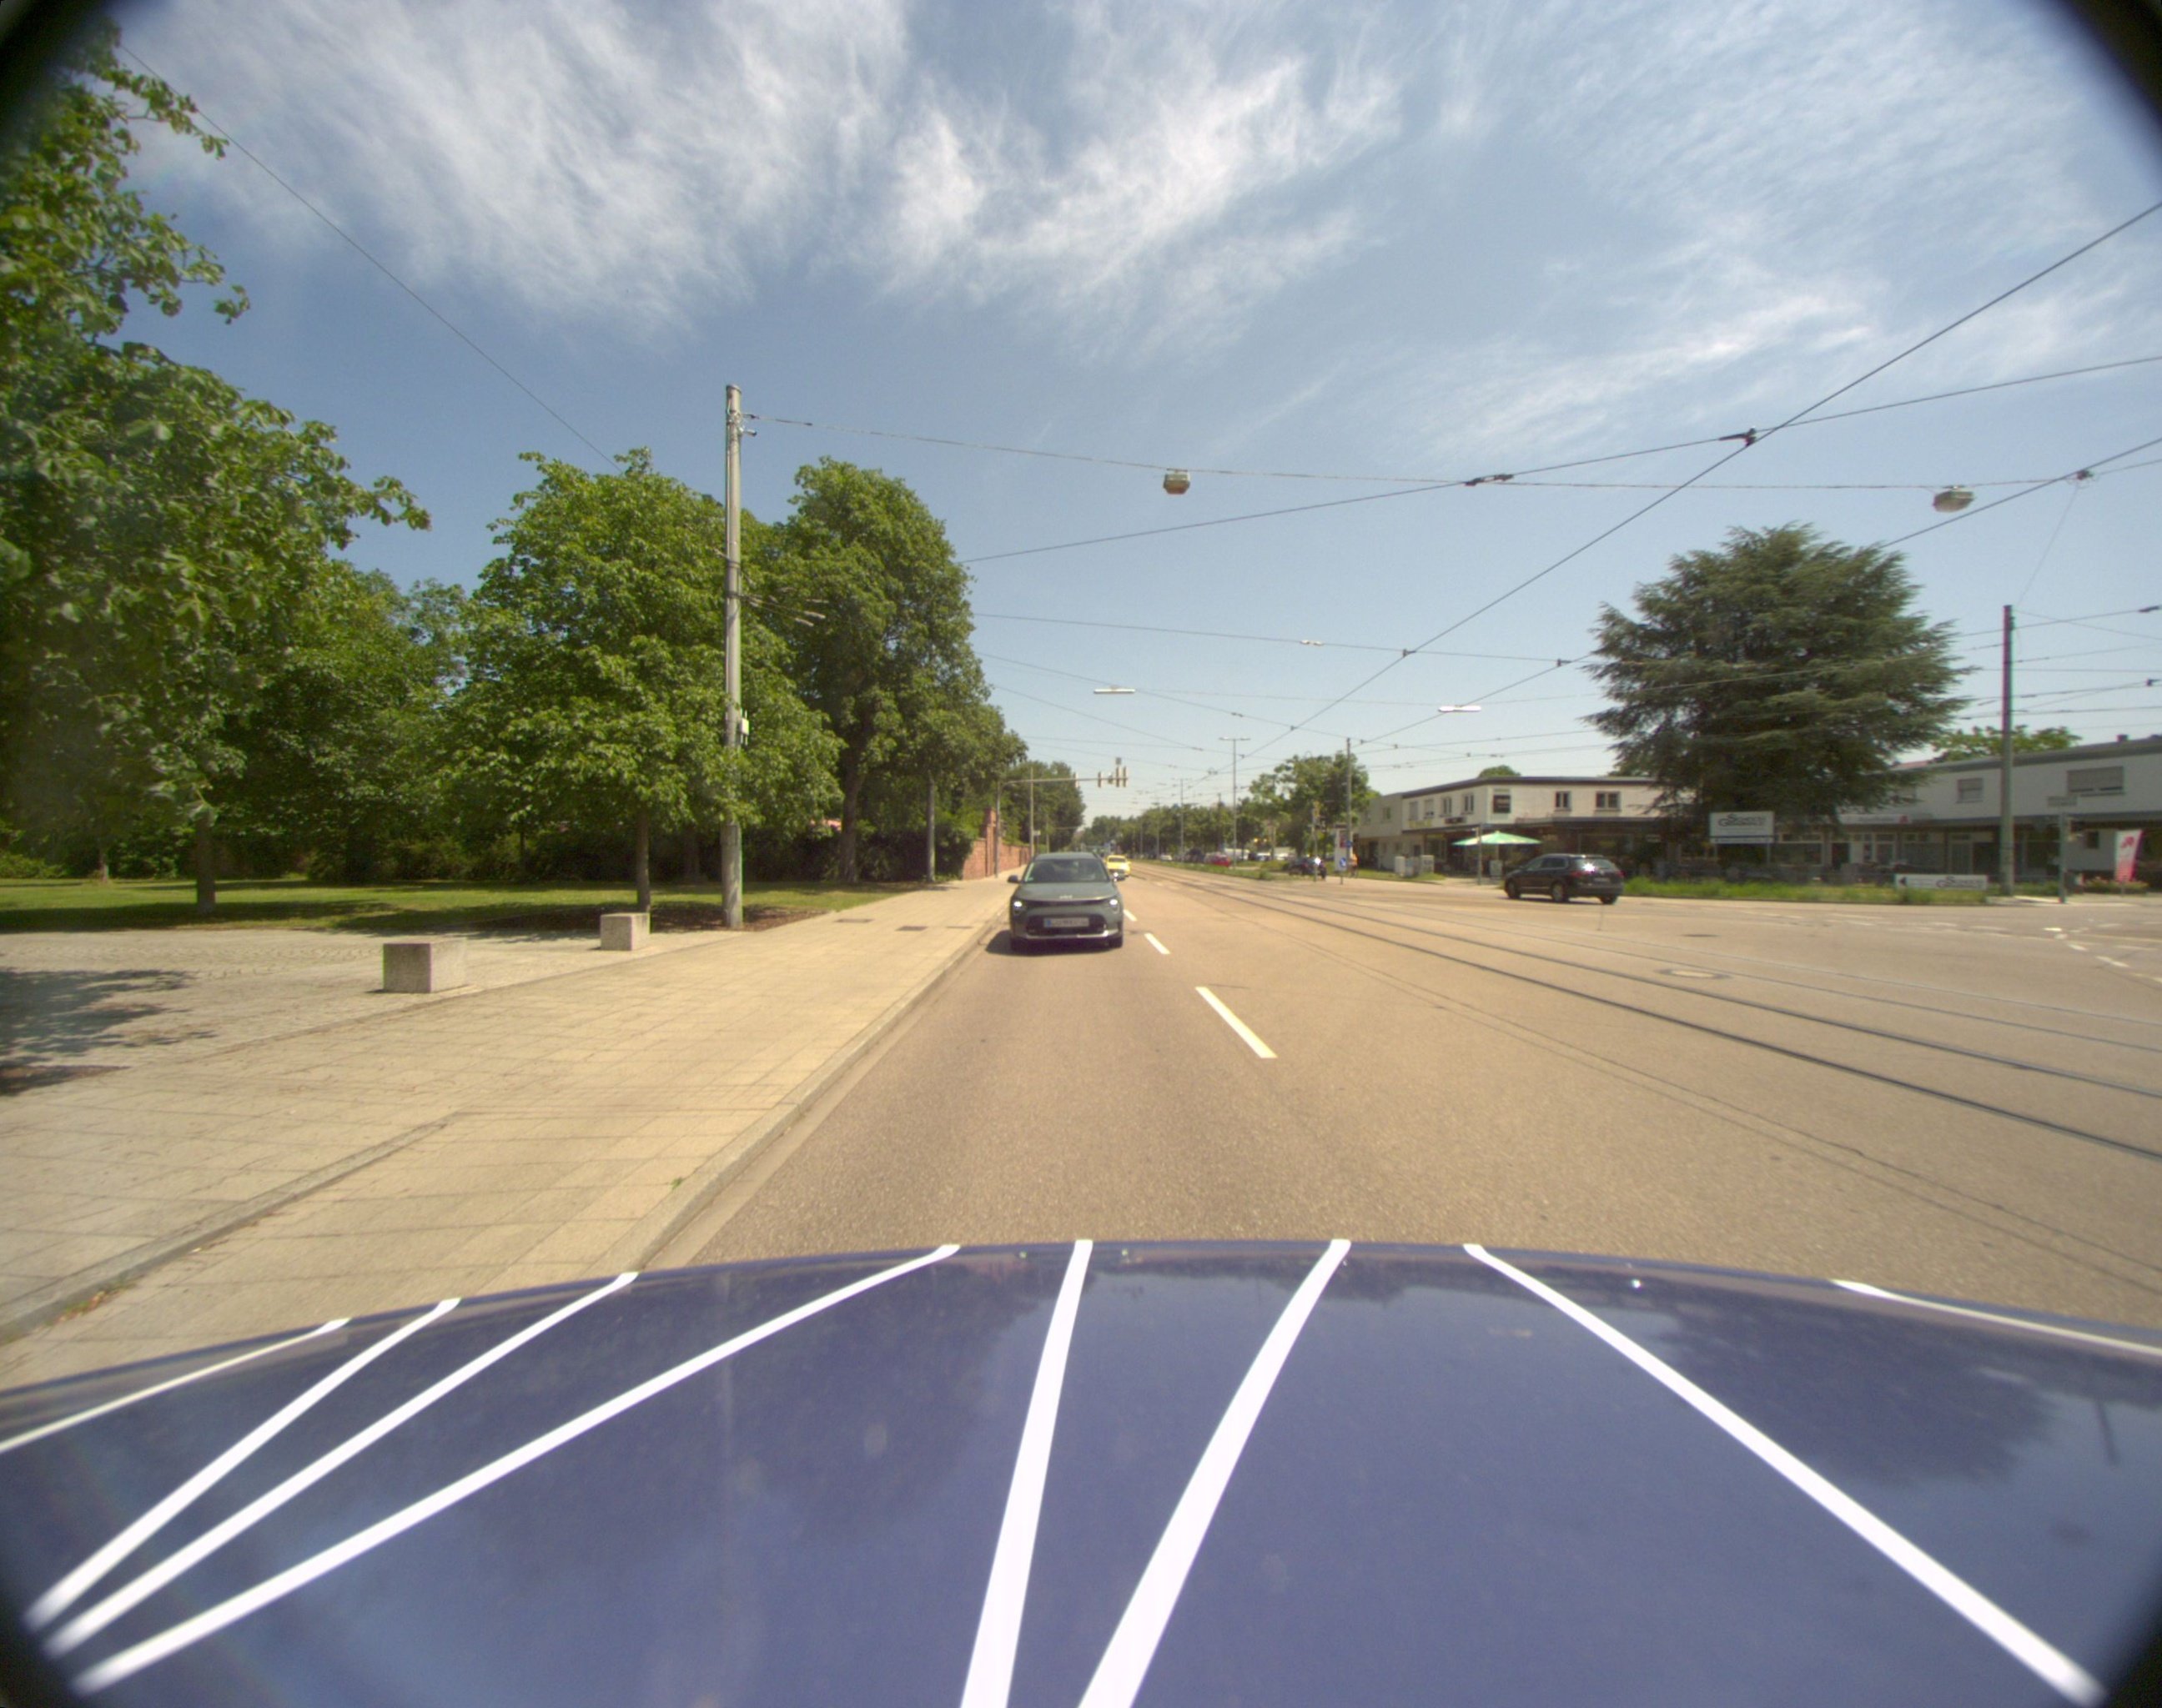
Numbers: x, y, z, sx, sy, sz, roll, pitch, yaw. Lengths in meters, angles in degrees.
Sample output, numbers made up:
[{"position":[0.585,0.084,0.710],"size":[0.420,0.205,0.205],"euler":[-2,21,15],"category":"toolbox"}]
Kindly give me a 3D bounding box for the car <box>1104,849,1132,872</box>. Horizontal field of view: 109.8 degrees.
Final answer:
[{"position":[2.520,0.415,52.411],"size":[1.620,1.413,3.654],"euler":[3,1,-1],"category":"car"}]

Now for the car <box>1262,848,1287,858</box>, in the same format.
[{"position":[28.983,-0.147,113.852],"size":[3.415,1.386,1.602],"euler":[0,1,-5],"category":"car"}]

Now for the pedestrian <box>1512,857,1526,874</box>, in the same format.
[{"position":[28.396,0.738,49.267],"size":[0.518,1.121,0.674],"euler":[0,1,0],"category":"pedestrian"}]

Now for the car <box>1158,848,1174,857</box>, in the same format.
[{"position":[14.662,-0.283,130.817],"size":[1.999,1.544,4.137],"euler":[0,1,-4],"category":"car"}]

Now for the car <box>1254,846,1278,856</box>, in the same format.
[{"position":[30.386,-0.523,124.770],"size":[3.415,1.497,1.602],"euler":[0,1,-5],"category":"car"}]

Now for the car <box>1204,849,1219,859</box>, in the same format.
[{"position":[19.413,-0.018,113.322],"size":[1.675,1.379,3.568],"euler":[1,1,2],"category":"car"}]

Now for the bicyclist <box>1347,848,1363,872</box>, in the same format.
[{"position":[19.976,0.418,55.422],"size":[0.696,1.755,1.137],"euler":[0,0,-1],"category":"bicyclist"}]

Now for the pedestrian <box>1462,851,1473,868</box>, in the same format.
[{"position":[28.199,0.413,55.429],"size":[0.576,1.231,0.491],"euler":[0,1,-1],"category":"pedestrian"}]

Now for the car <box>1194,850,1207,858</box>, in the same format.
[{"position":[19.345,-0.009,123.247],"size":[1.675,1.379,3.669],"euler":[1,1,2],"category":"car"}]

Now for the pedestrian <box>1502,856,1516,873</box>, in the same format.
[{"position":[28.565,0.714,50.751],"size":[0.518,1.121,0.674],"euler":[0,1,0],"category":"pedestrian"}]

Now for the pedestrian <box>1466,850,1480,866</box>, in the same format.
[{"position":[28.929,0.279,56.053],"size":[0.566,1.121,0.810],"euler":[0,1,0],"category":"pedestrian"}]

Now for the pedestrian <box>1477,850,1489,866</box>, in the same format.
[{"position":[29.674,0.302,56.107],"size":[0.518,1.157,0.674],"euler":[0,1,0],"category":"pedestrian"}]

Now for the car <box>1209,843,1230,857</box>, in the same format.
[{"position":[19.441,-0.524,106.888],"size":[1.998,1.872,4.661],"euler":[1,1,0],"category":"car"}]

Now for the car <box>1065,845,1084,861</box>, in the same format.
[{"position":[-0.667,-0.085,80.344],"size":[1.998,1.652,3.999],"euler":[1,1,0],"category":"car"}]

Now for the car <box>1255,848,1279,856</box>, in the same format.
[{"position":[29.822,-0.335,122.105],"size":[3.415,1.386,1.602],"euler":[0,1,-5],"category":"car"}]

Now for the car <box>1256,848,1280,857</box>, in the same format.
[{"position":[29.315,-0.274,119.208],"size":[3.415,1.386,1.602],"euler":[0,1,-5],"category":"car"}]

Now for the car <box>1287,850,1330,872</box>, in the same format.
[{"position":[15.620,0.482,52.354],"size":[1.714,1.430,3.864],"euler":[0,0,-2],"category":"car"}]

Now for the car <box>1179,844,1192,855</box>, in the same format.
[{"position":[19.663,-0.867,143.174],"size":[1.681,1.963,4.508],"euler":[0,1,-1],"category":"car"}]

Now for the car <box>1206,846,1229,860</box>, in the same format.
[{"position":[15.004,-0.151,83.659],"size":[1.629,1.475,3.827],"euler":[0,1,-4],"category":"car"}]

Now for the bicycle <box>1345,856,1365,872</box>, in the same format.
[{"position":[19.967,0.712,55.373],"size":[0.696,1.142,1.931],"euler":[0,0,-1],"category":"bicycle"}]

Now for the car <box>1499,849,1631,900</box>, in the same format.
[{"position":[16.518,0.639,26.247],"size":[1.798,1.570,4.495],"euler":[1,0,2],"category":"car"}]

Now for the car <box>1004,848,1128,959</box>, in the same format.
[{"position":[-0.214,0.714,13.363],"size":[1.789,1.561,4.183],"euler":[-2,1,0],"category":"car"}]

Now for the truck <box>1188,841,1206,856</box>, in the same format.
[{"position":[19.709,-0.962,129.145],"size":[2.225,2.527,4.928],"euler":[1,1,0],"category":"truck"}]

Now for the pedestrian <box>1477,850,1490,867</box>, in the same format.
[{"position":[29.026,0.335,54.811],"size":[0.518,1.192,0.674],"euler":[0,1,0],"category":"pedestrian"}]

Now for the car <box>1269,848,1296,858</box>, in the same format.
[{"position":[29.567,-0.183,111.594],"size":[3.415,1.386,1.602],"euler":[0,1,-5],"category":"car"}]
